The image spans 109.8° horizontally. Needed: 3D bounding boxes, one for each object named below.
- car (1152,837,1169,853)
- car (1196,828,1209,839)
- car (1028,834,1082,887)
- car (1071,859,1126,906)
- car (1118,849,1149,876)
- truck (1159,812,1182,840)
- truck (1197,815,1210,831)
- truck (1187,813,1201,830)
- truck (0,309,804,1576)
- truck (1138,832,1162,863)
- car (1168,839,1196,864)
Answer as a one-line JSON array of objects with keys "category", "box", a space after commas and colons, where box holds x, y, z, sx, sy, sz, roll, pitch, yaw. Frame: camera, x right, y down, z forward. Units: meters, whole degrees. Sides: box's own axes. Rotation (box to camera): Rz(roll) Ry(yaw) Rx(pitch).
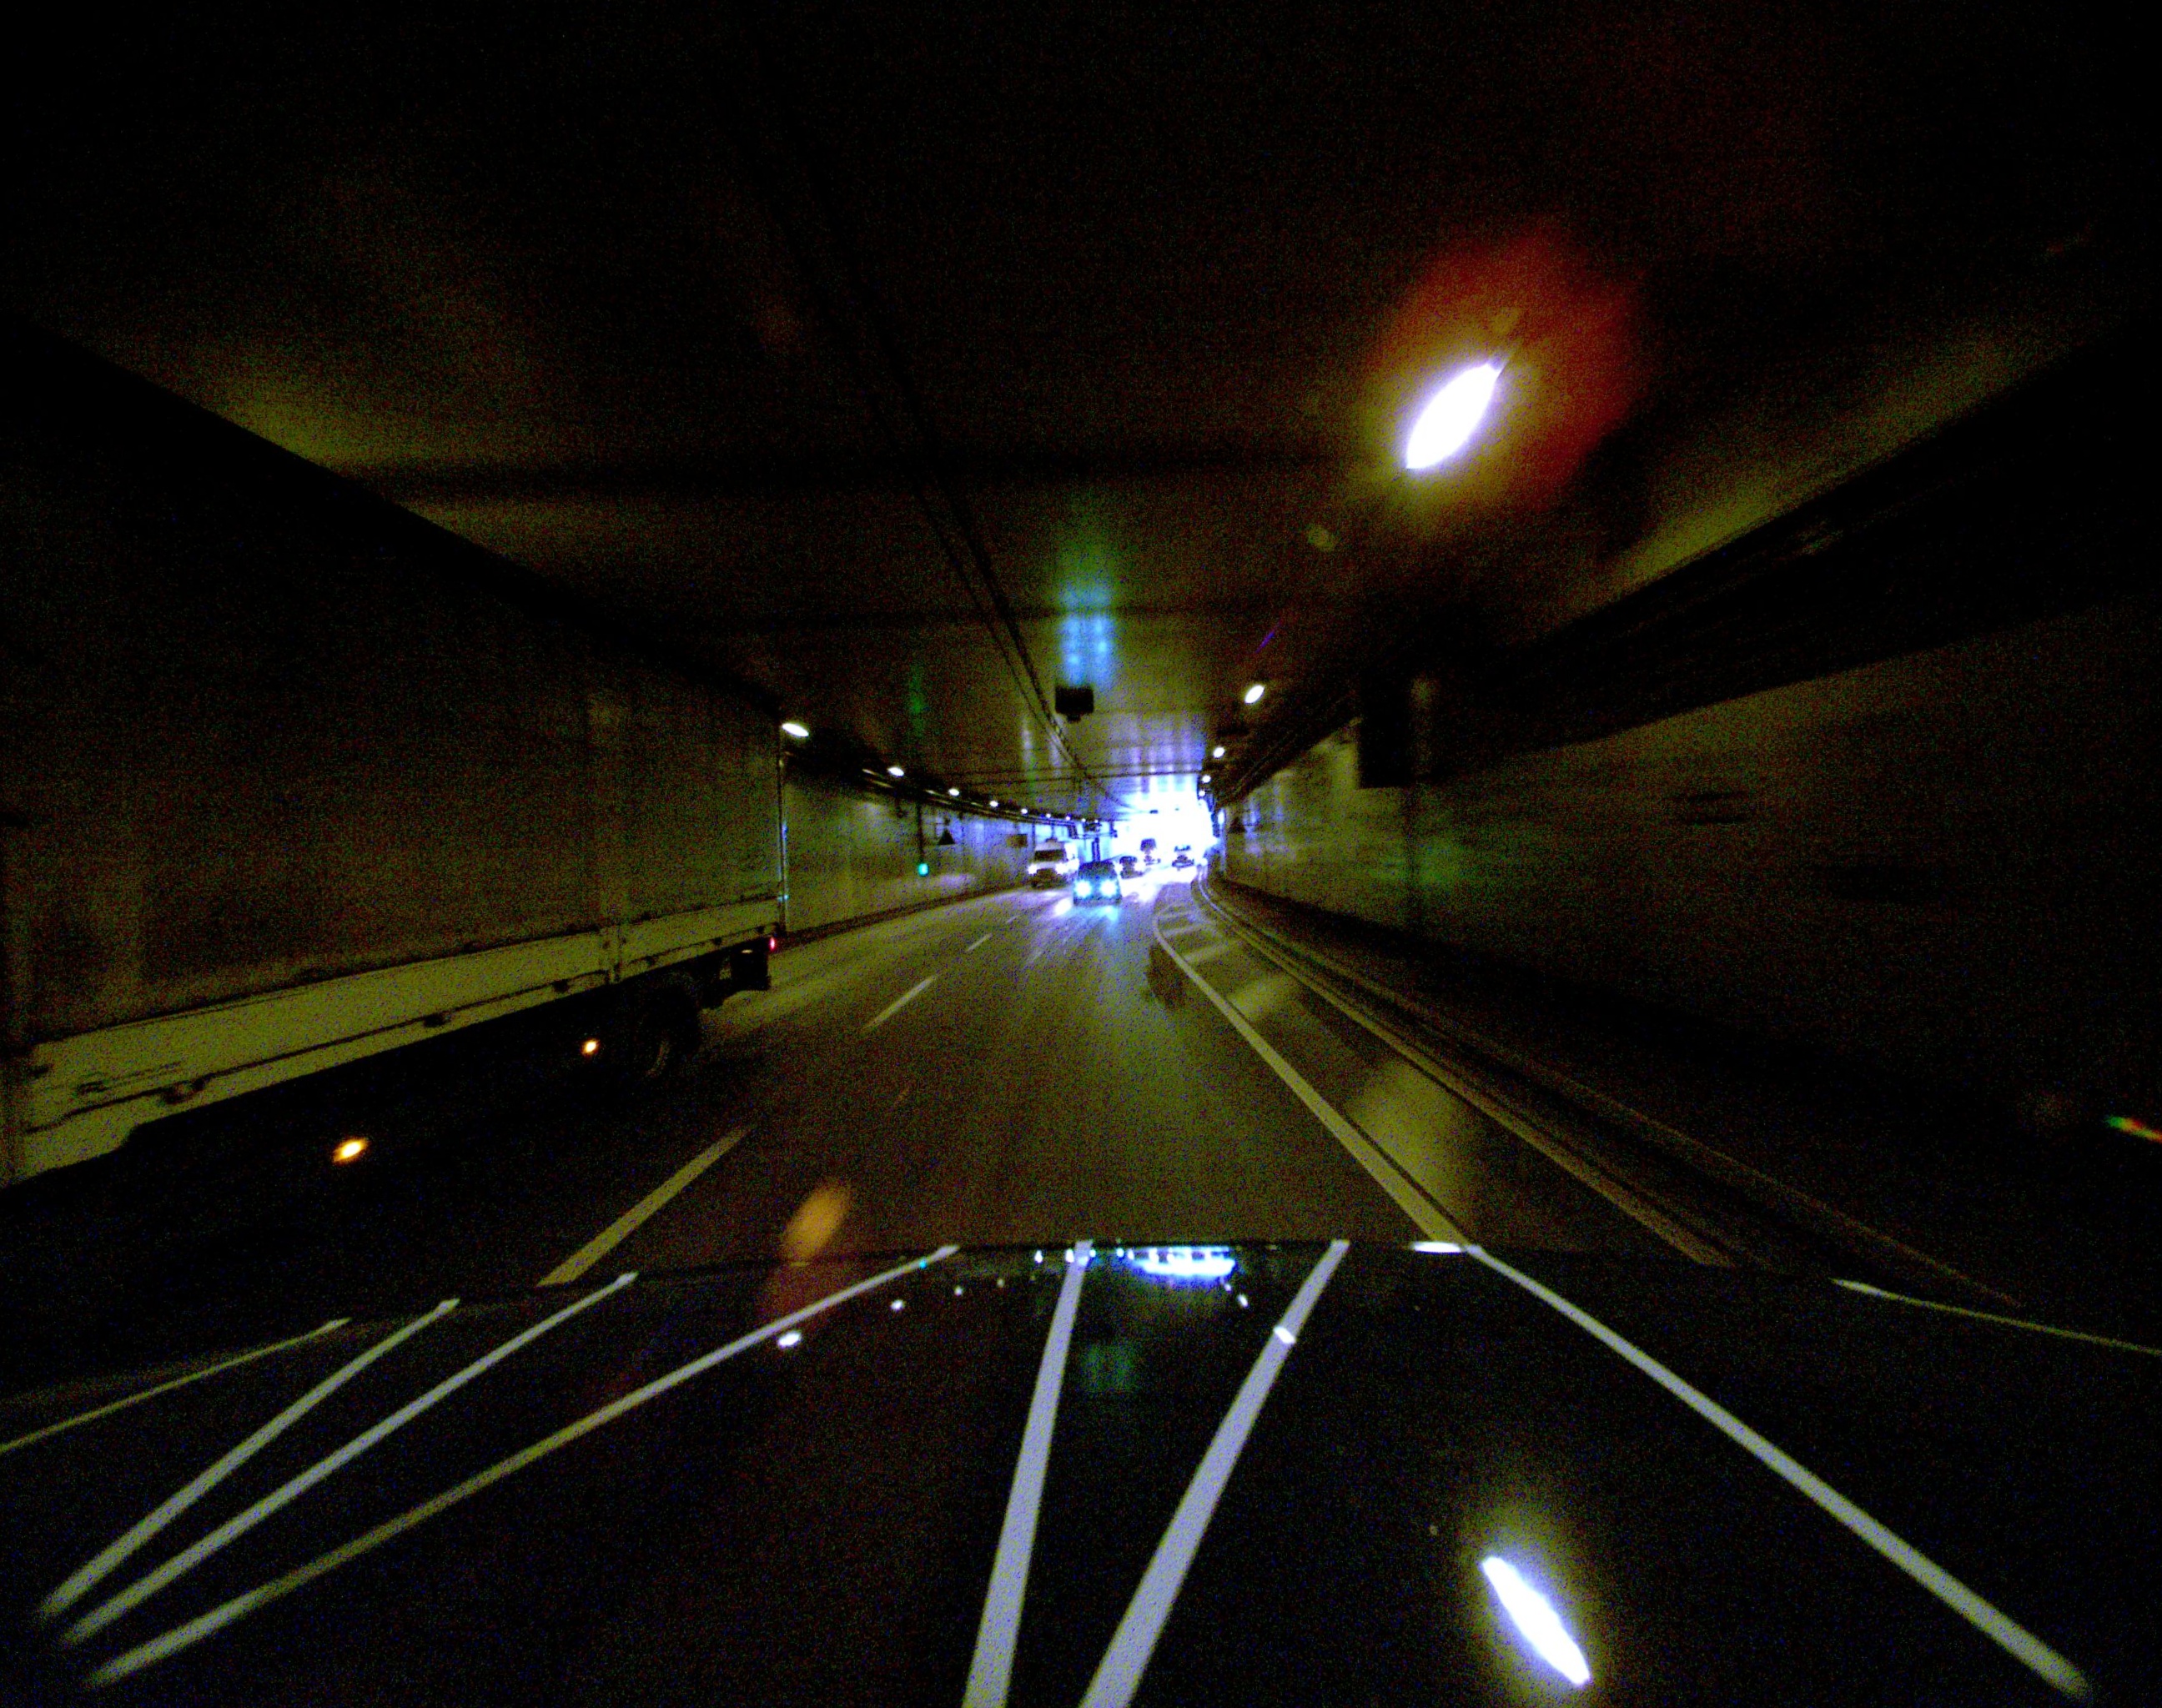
[{"category": "car", "box": [10.154, -1.106, 96.295, 1.638, 1.662, 3.717, -5, 4, 12]}, {"category": "car", "box": [21.670, -3.717, 135.133, 1.949, 1.526, 4.000, -5, 4, 11]}, {"category": "car", "box": [-1.410, 0.272, 45.251, 2.106, 2.831, 6.862, -3, 1, 6]}, {"category": "car", "box": [0.707, 0.997, 27.801, 1.638, 1.552, 3.718, -1, 0, 7]}, {"category": "car", "box": [3.758, 0.559, 53.810, 1.763, 1.552, 3.819, -5, 2, 9]}, {"category": "truck", "box": [16.507, -5.293, 139.715, 2.884, 4.448, 10.456, -5, 4, 13]}, {"category": "truck", "box": [24.934, -6.337, 154.705, 2.137, 2.714, 5.672, -5, 4, 12]}, {"category": "truck", "box": [24.946, -7.238, 167.396, 2.492, 3.370, 6.377, -5, 4, 12]}, {"category": "truck", "box": [-3.974, 0.252, 3.499, 2.560, 3.162, 7.246, -3, 0, 0]}, {"category": "truck", "box": [6.931, -0.692, 76.163, 2.073, 2.526, 6.022, -5, 3, 7]}, {"category": "car", "box": [8.935, -0.240, 66.863, 1.934, 1.918, 4.199, -5, 2, 12]}]
